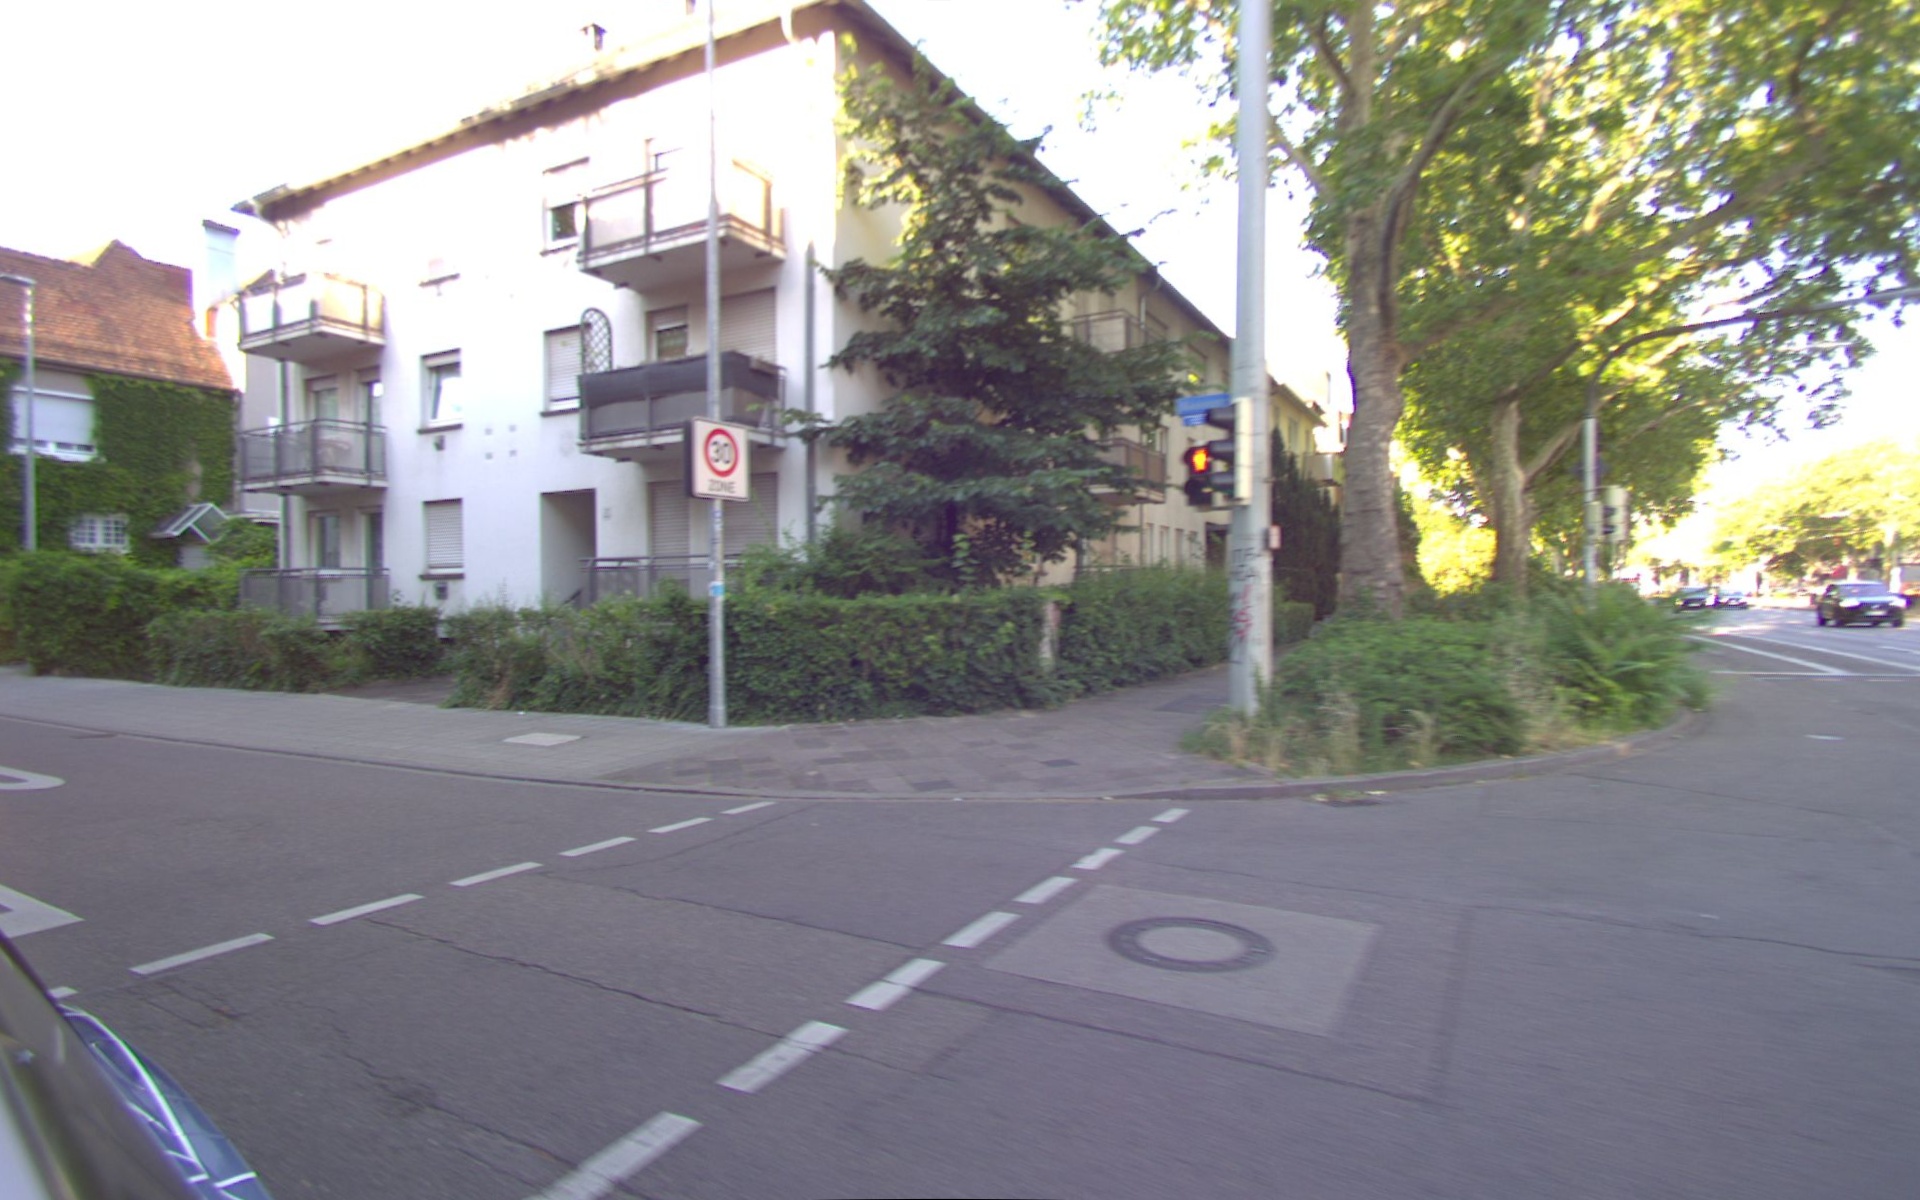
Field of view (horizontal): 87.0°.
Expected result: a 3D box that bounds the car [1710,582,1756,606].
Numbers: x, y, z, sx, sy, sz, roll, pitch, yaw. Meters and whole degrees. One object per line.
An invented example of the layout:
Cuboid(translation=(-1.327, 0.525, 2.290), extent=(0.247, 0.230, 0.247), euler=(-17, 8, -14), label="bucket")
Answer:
Cuboid(translation=(52.601, -0.409, 68.940), extent=(1.871, 1.608, 3.961), euler=(-1, 0, 29), label="car")

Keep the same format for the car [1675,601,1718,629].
Cuboid(translation=(45.103, 0.918, 62.022), extent=(1.873, 1.608, 3.956), euler=(-1, 0, 32), label="car")

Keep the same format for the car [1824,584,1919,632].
Cuboid(translation=(32.470, 0.248, 36.138), extent=(1.873, 1.608, 3.956), euler=(-1, 0, 32), label="car")
